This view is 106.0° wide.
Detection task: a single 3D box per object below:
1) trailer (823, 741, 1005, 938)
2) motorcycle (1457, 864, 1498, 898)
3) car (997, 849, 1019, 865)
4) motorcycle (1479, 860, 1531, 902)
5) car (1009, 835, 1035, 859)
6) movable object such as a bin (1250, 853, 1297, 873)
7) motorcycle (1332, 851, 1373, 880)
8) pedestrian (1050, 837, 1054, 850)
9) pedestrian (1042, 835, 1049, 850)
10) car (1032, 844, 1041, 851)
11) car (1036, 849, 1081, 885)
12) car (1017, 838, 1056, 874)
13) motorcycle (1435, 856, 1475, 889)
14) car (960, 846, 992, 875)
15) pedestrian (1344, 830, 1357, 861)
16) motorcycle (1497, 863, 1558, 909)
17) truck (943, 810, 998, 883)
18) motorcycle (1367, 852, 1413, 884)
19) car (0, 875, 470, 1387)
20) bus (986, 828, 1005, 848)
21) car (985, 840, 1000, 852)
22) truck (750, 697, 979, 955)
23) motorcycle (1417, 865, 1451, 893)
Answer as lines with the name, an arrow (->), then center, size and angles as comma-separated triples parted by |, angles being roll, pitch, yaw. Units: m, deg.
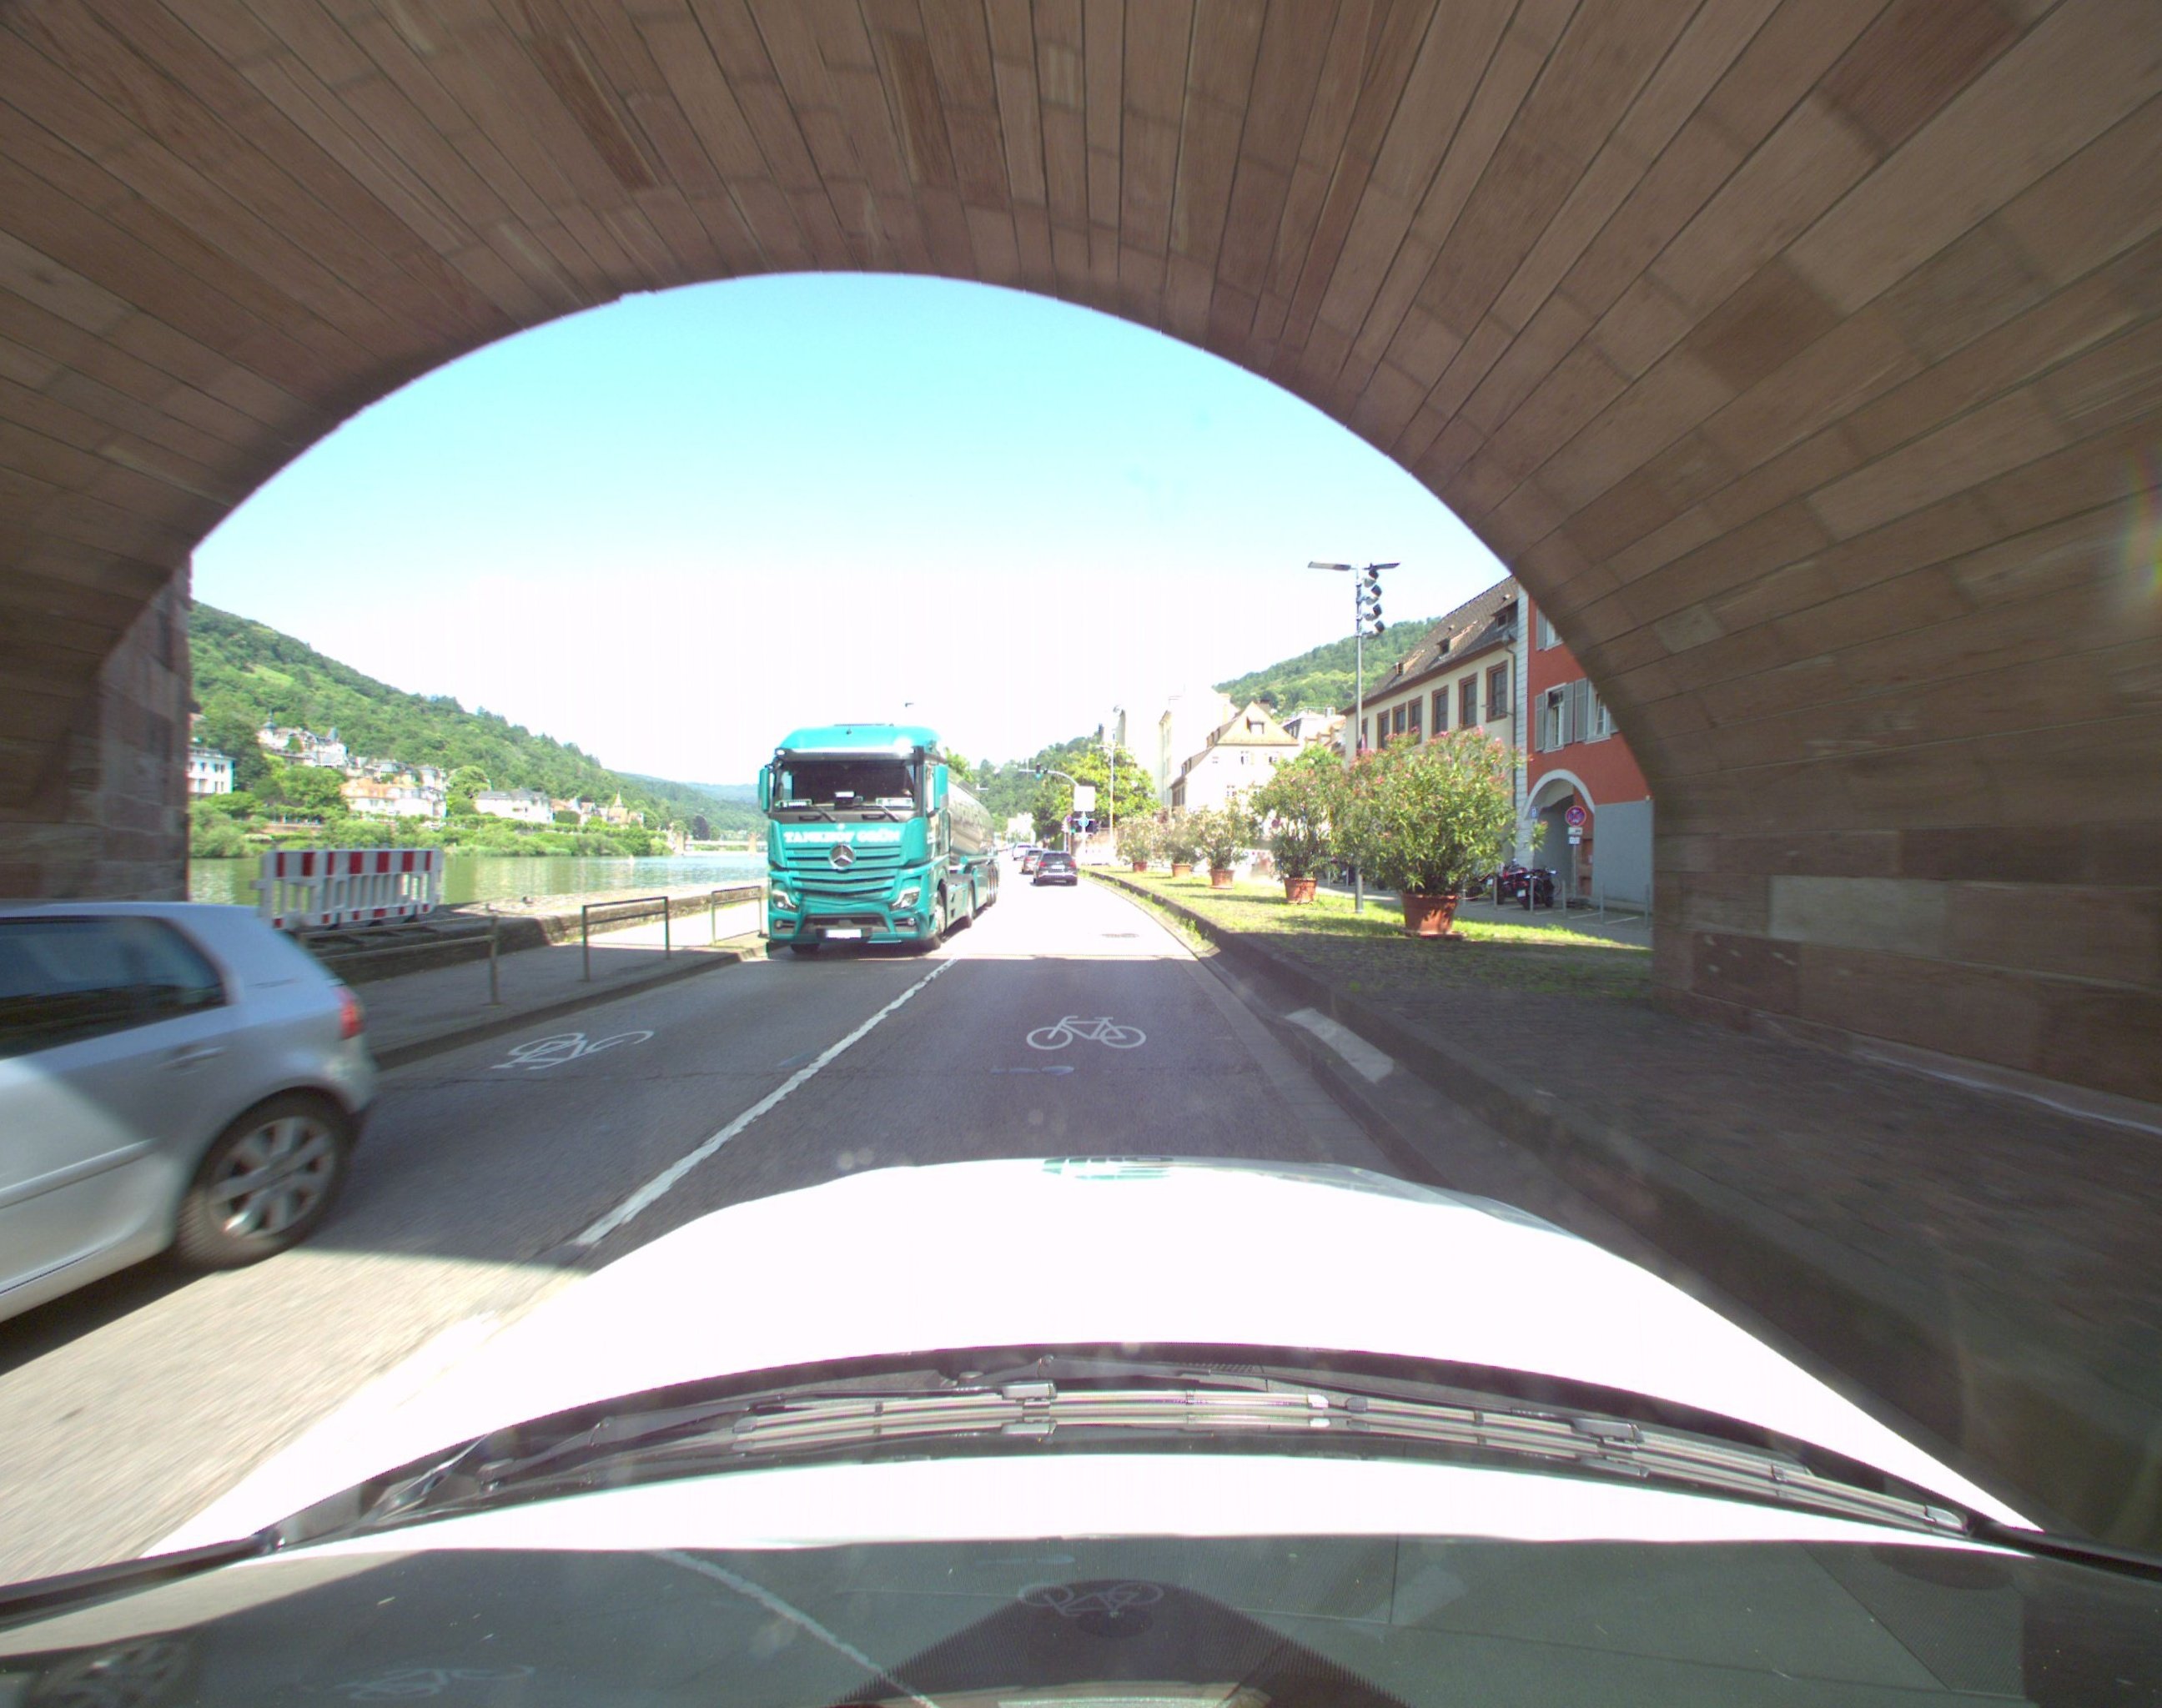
trailer -> -3.670, -0.327, 21.085 | 2.517, 3.644, 11.524 | -2, 0, -1
motorcycle -> 13.713, 0.914, 28.133 | 0.620, 1.076, 2.211 | 0, 0, 44
car -> -7.868, 0.353, 87.134 | 1.994, 1.662, 3.985 | 0, 0, -11
motorcycle -> 13.859, 0.854, 26.604 | 2.165, 1.233, 0.832 | -1, 1, -43
car -> -5.167, -0.576, 71.049 | 1.992, 2.014, 3.990 | 2, -1, -7
movable object such as a bin -> 11.145, 0.500, 47.080 | 2.972, 1.110, 1.243 | -1, 1, -43
motorcycle -> 12.436, 0.524, 37.258 | 2.208, 1.267, 0.621 | -1, 0, -38
pedestrian -> -3.450, -1.231, 96.944 | 0.455, 1.606, 0.578 | -1, 0, -5
pedestrian -> -4.205, -1.359, 96.310 | 0.679, 1.742, 0.911 | -1, 0, -5
car -> -9.922, -1.479, 180.202 | 1.990, 1.453, 4.002 | -1, -1, -4
car -> -1.032, 0.534, 36.146 | 1.852, 1.523, 3.996 | 0, 1, -3
car -> -2.647, 0.150, 47.829 | 1.992, 2.014, 3.989 | -1, -1, -7
motorcycle -> 13.632, 0.661, 29.674 | 0.620, 1.148, 2.211 | 0, 0, 44
car -> -6.573, 0.352, 51.381 | 1.861, 1.681, 4.444 | -1, 1, -7
pedestrian -> 15.952, -0.509, 48.199 | 0.493, 1.823, 0.618 | -1, -1, -3
motorcycle -> 13.439, 0.931, 24.460 | 2.557, 1.233, 0.832 | -1, 1, -43
truck -> -5.582, -0.409, 41.714 | 2.374, 3.261, 7.593 | -3, 1, -7
motorcycle -> 12.943, 0.574, 34.096 | 2.193, 1.267, 0.774 | -1, 0, -38
car -> -4.005, 0.849, 1.950 | 1.717, 1.436, 4.399 | -2, 0, 0
bus -> -12.654, -2.416, 121.031 | 2.593, 2.896, 8.432 | -1, 1, -5
car -> -11.297, -1.014, 103.866 | 1.807, 1.406, 4.346 | -1, 1, -7
truck -> -3.602, -0.468, 15.204 | 2.516, 3.748, 6.244 | -2, 1, -1
motorcycle -> 13.534, 0.936, 31.229 | 0.540, 0.986, 1.943 | 0, 0, 44
